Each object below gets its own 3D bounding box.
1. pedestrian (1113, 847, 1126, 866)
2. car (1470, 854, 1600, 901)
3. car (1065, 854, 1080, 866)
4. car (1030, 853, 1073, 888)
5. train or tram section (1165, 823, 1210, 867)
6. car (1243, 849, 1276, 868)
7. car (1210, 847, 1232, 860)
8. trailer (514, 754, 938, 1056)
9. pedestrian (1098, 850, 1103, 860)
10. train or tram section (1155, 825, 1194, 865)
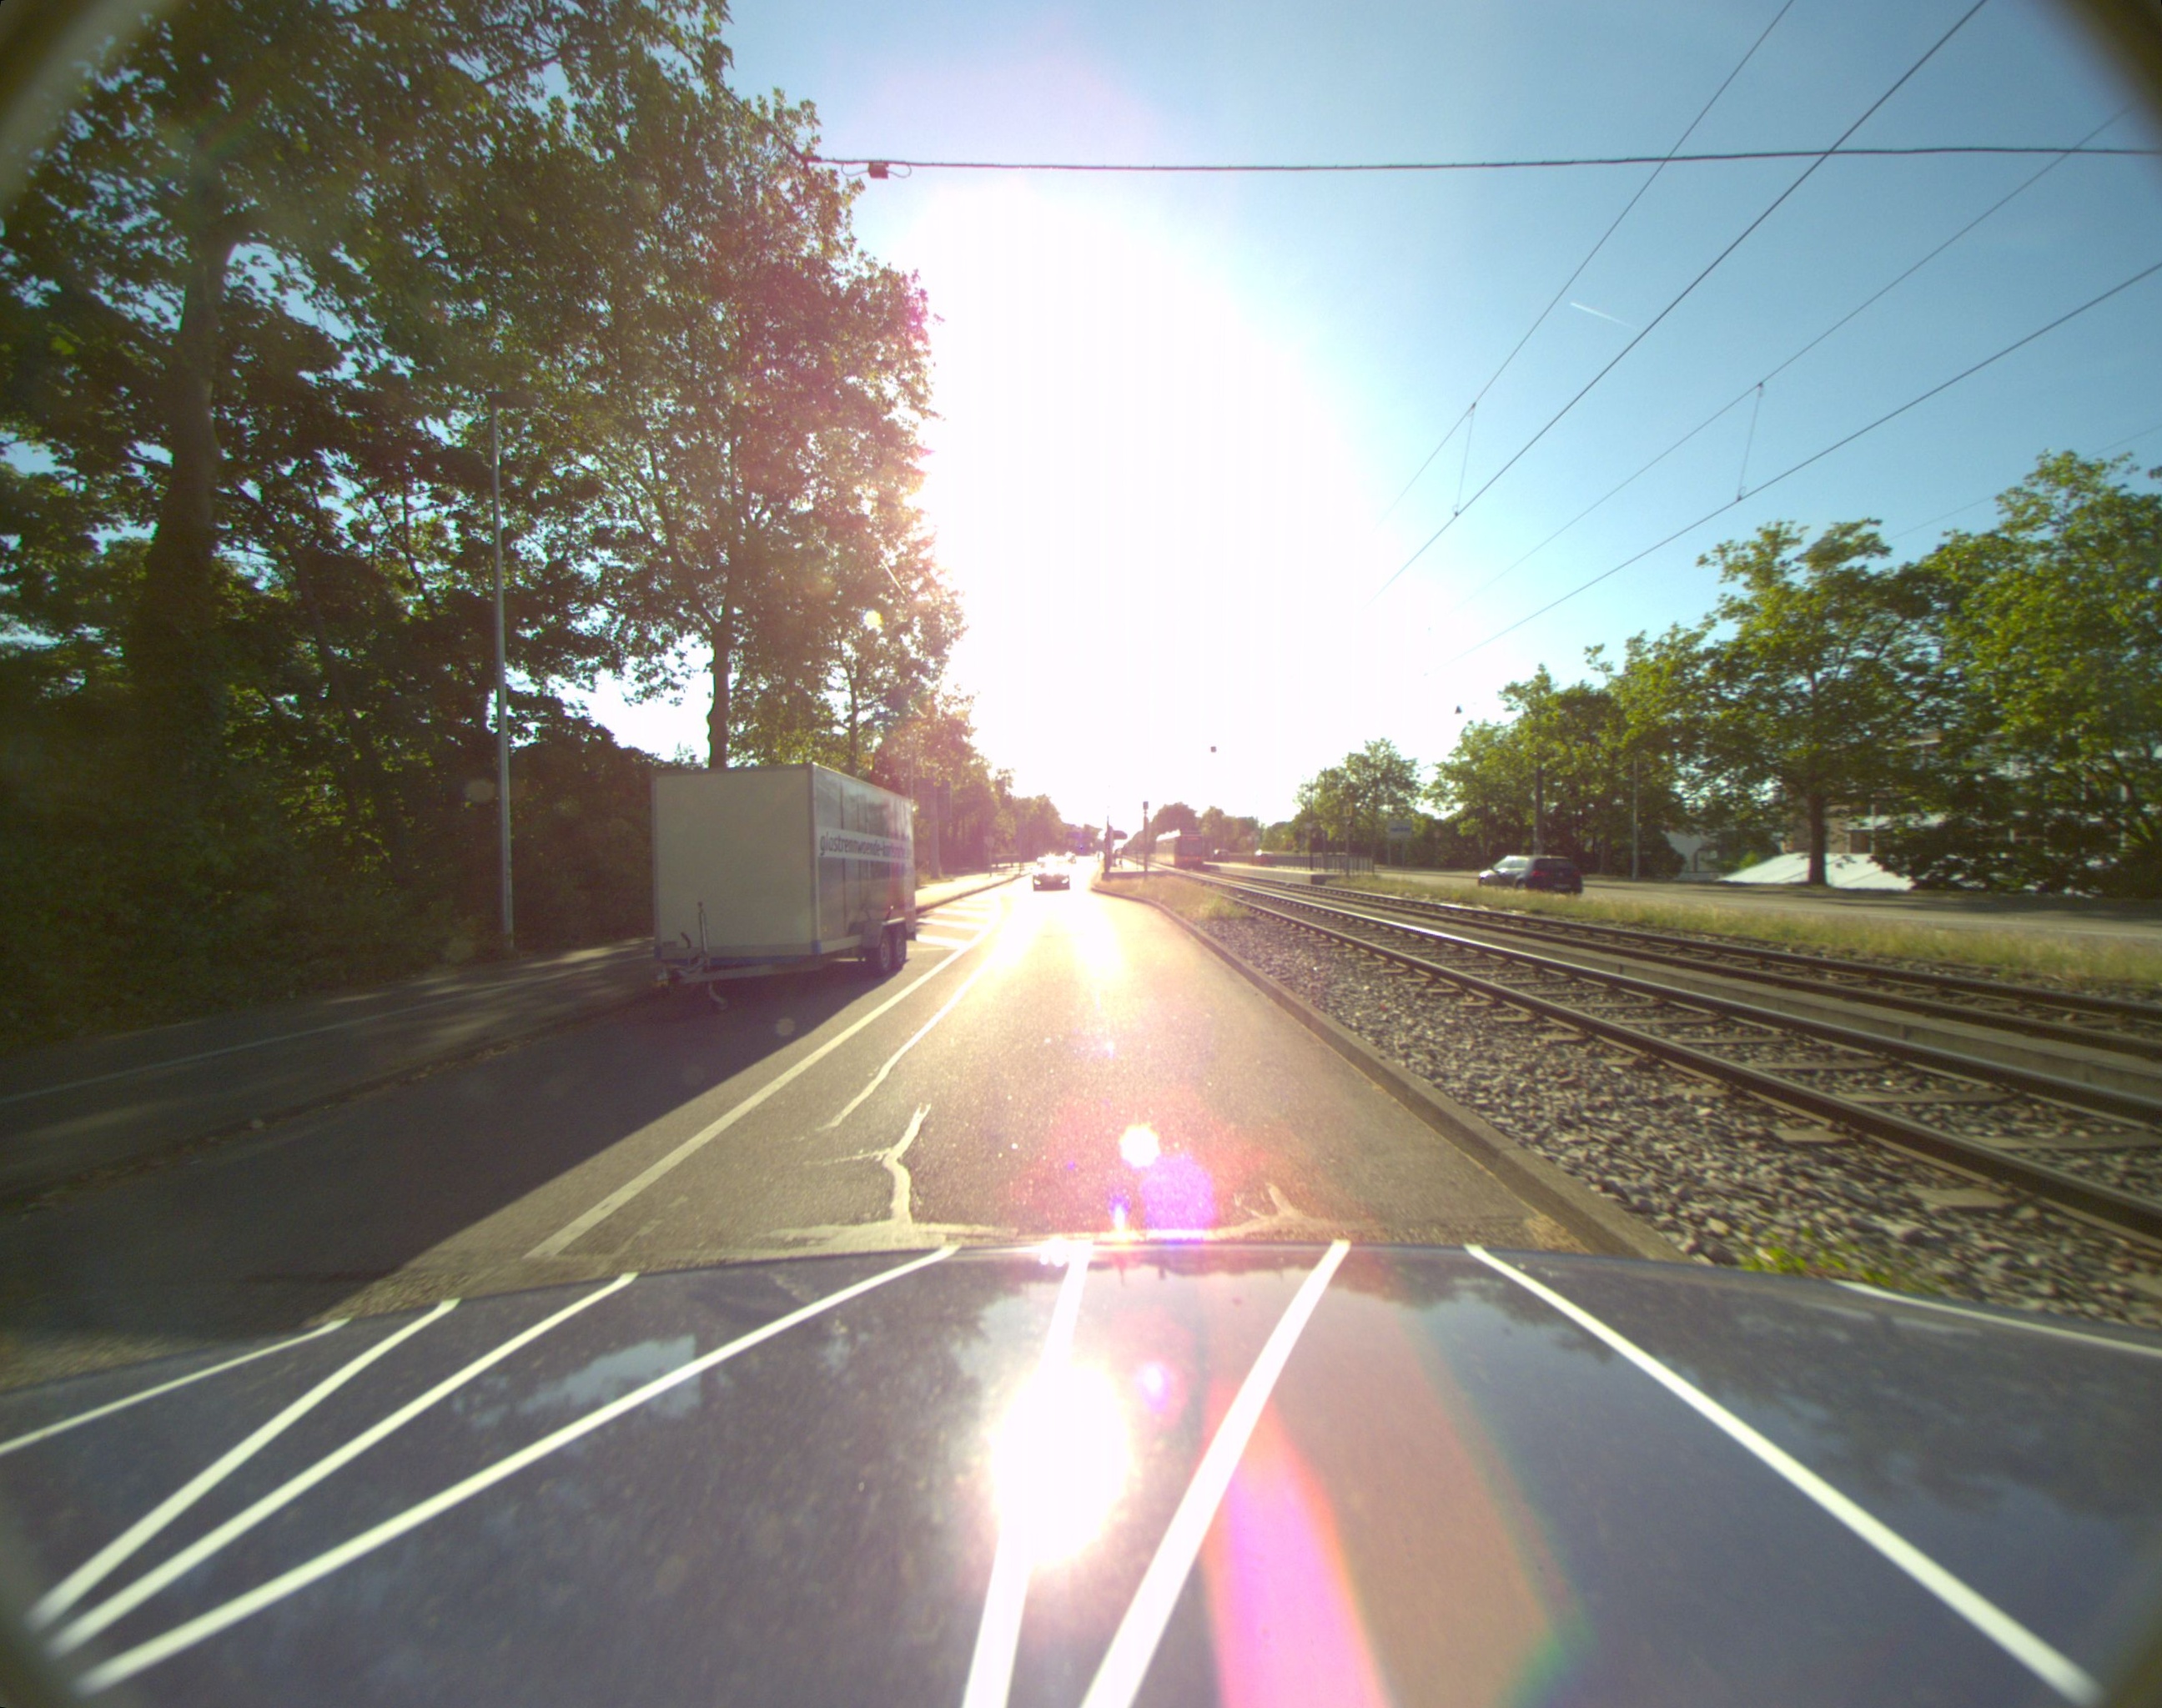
[{"bbox_3d":[3.048,0.180,60.205,0.760,1.485,0.696,-1,1,35],"label":"pedestrian"},{"bbox_3d":[14.958,0.721,25.366,1.777,1.416,4.489,0,0,2],"label":"car"},{"bbox_3d":[-1.153,0.816,104.114,1.784,1.586,4.000,-1,0,1],"label":"car"},{"bbox_3d":[-1.359,0.803,36.713,1.786,1.529,4.001,-2,-1,1],"label":"car"},{"bbox_3d":[9.883,-0.853,71.914,2.834,3.665,12.969,-2,1,2],"label":"train or tram section"},{"bbox_3d":[16.222,0.380,69.225,1.998,1.552,4.543,-1,0,2],"label":"car"},{"bbox_3d":[17.190,-0.098,93.736,1.998,1.552,4.335,-1,0,2],"label":"car"},{"bbox_3d":[-3.769,0.457,9.805,2.256,2.679,5.948,-1,0,4],"label":"trailer"},{"bbox_3d":[3.396,0.187,132.895,0.891,1.635,0.987,0,1,4],"label":"pedestrian"},{"bbox_3d":[10.424,-1.015,86.346,2.834,3.982,15.875,-2,1,2],"label":"train or tram section"}]
